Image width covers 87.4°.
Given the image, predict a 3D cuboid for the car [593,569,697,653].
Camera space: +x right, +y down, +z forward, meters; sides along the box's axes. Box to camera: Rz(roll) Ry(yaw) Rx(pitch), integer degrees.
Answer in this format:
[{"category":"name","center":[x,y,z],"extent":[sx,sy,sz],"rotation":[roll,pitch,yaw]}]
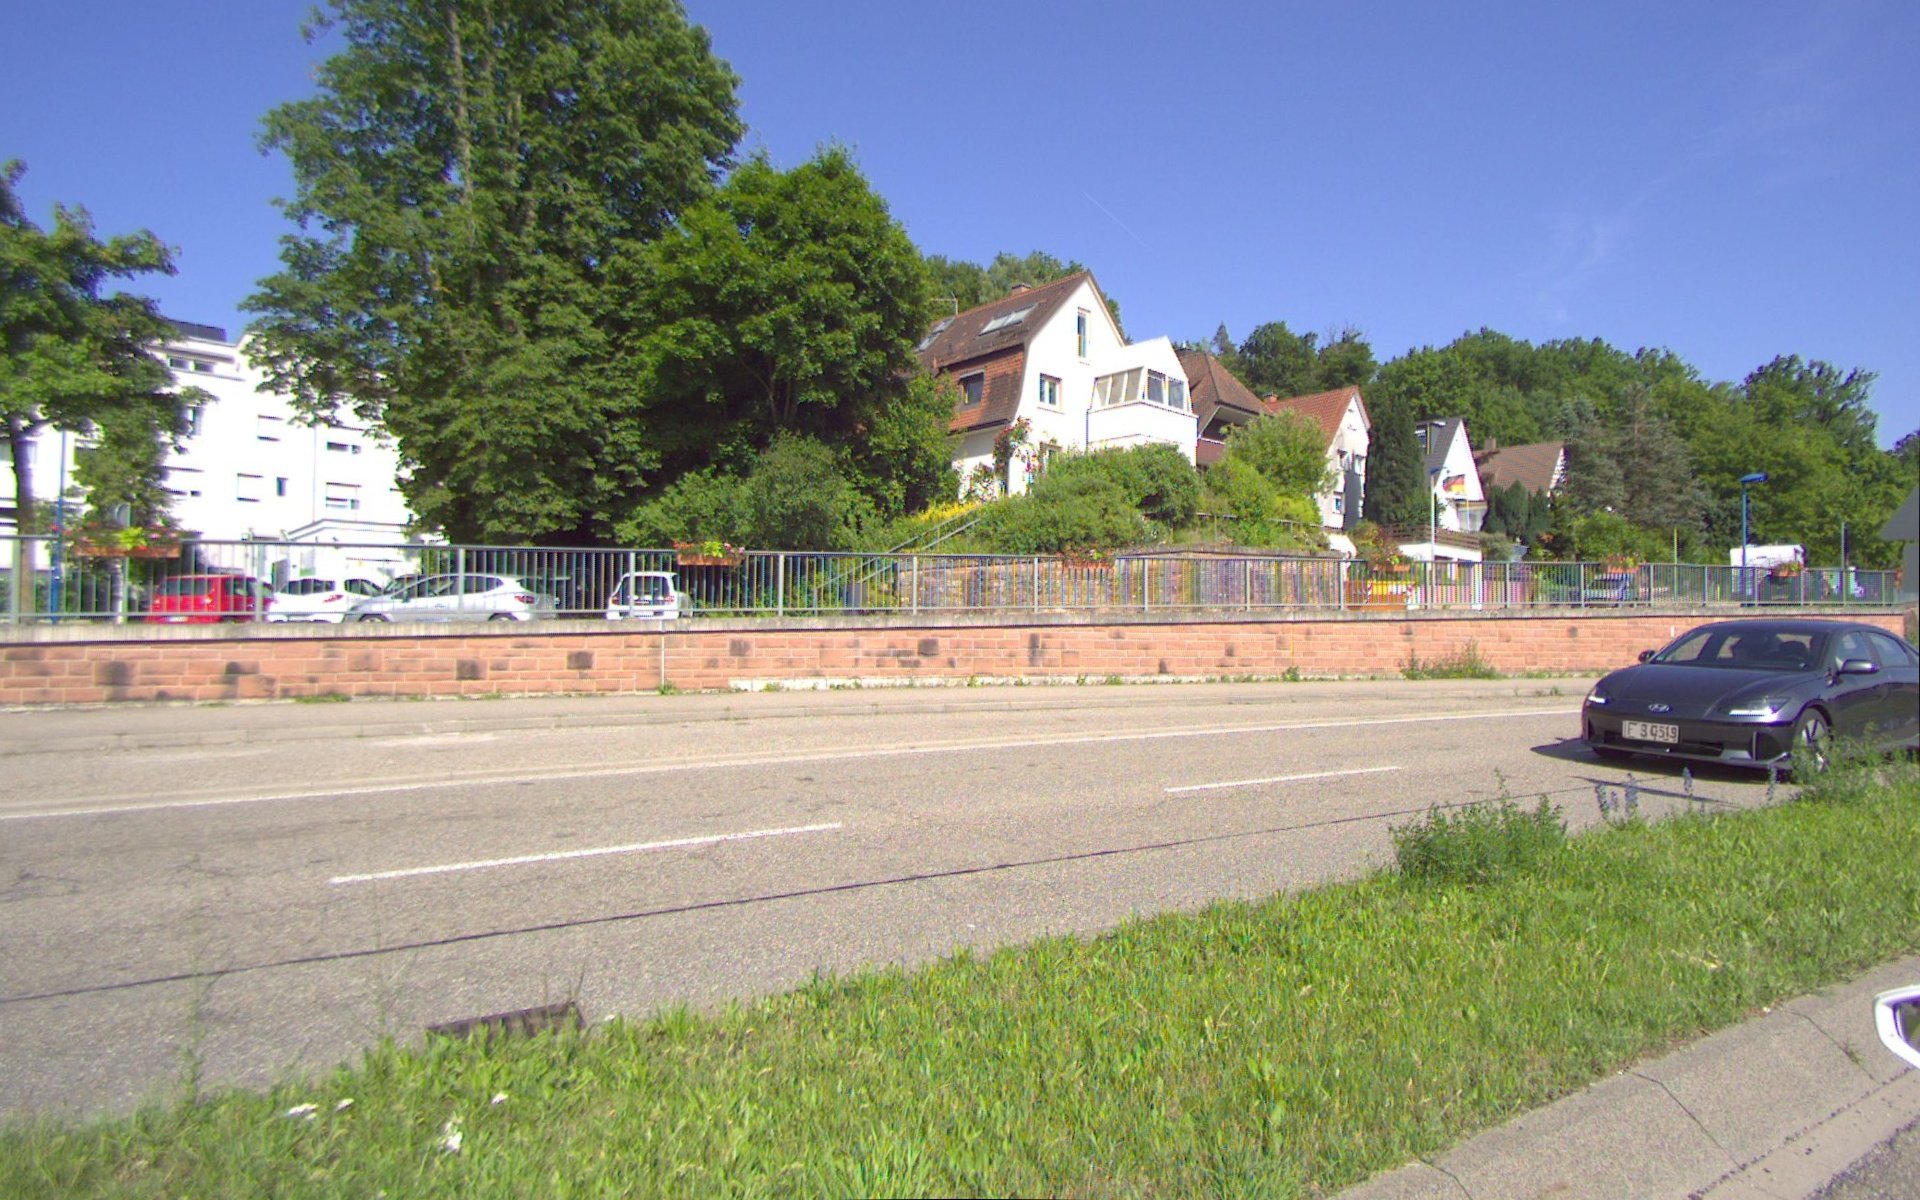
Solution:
[{"category":"car","center":[-7.627,0.201,24.679],"extent":[1.879,1.901,3.993],"rotation":[0,1,-9]}]

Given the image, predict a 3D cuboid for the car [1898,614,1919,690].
[{"category":"car","center":[22.266,1.115,21.440],"extent":[4.453,1.585,1.985],"rotation":[1,0,-28]}]

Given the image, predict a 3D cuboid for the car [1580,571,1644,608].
[{"category":"car","center":[31.214,-0.464,48.051],"extent":[1.875,1.651,3.976],"rotation":[0,-1,44]}]

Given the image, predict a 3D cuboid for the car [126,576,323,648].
[{"category":"car","center":[-17.439,0.217,24.092],"extent":[1.877,1.581,3.998],"rotation":[1,1,-2]}]

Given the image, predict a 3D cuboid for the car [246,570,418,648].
[{"category":"car","center":[-15.044,0.147,24.348],"extent":[1.877,1.724,3.996],"rotation":[0,2,-5]}]

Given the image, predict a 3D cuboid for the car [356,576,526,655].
[{"category":"car","center":[-12.186,0.289,23.925],"extent":[1.961,1.694,3.999],"rotation":[1,1,0]}]

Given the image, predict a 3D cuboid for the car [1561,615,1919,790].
[{"category":"car","center":[8.600,0.930,10.525],"extent":[4.656,1.490,1.785],"rotation":[1,0,-28]}]

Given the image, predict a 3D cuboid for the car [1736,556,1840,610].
[{"category":"car","center":[31.769,-0.660,38.515],"extent":[4.687,1.946,2.006],"rotation":[0,2,-37]}]

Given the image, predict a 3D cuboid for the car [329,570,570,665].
[{"category":"car","center":[-10.356,0.355,20.606],"extent":[3.922,1.813,1.921],"rotation":[1,-1,-2]}]
